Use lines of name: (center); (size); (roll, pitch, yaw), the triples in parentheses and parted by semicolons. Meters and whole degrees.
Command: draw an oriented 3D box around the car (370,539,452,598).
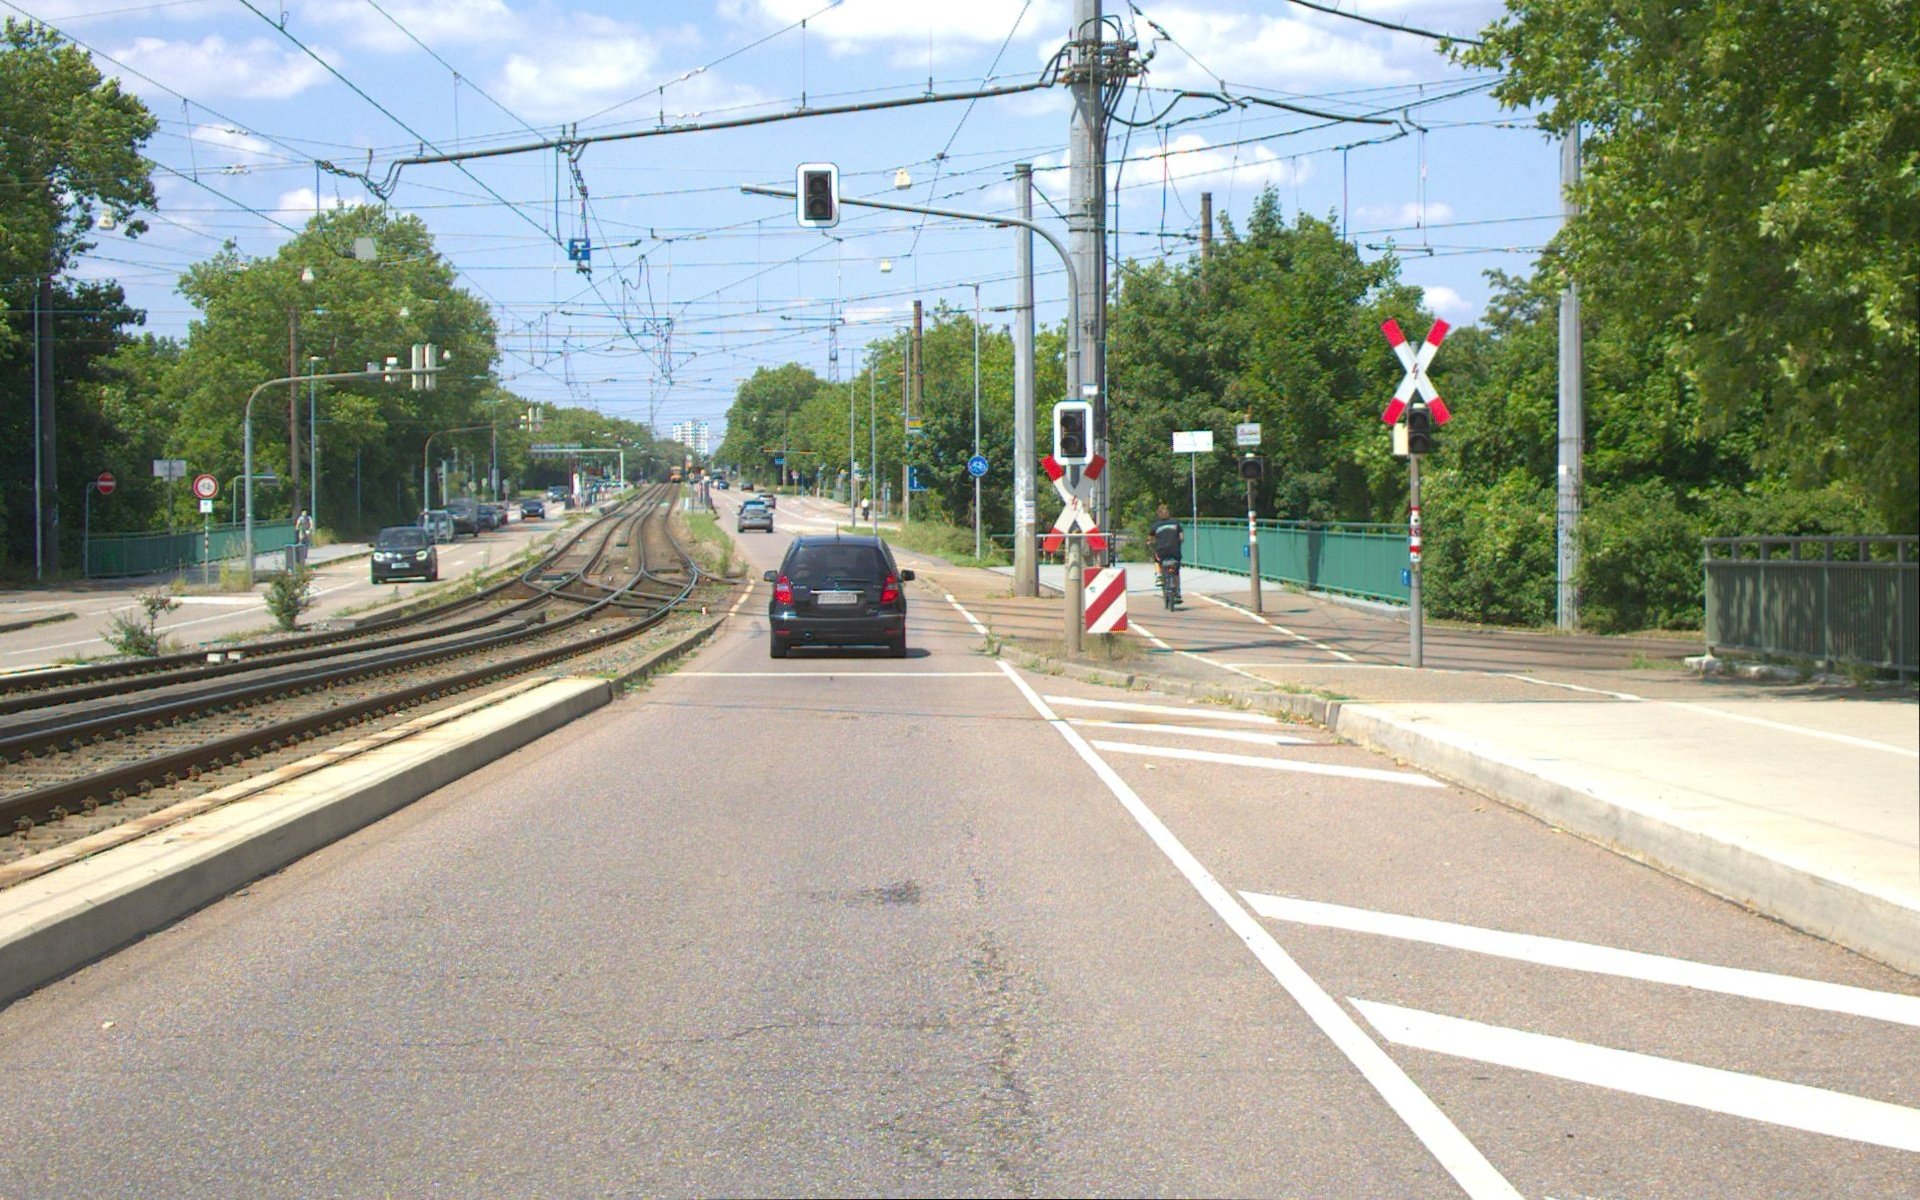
car: (-15.431, -0.892, 96.831); (1.705, 1.505, 3.734); (-1, 2, 0)

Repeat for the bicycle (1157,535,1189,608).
bicycle: (3.640, -0.500, 58.800); (0.432, 1.148, 1.855); (1, 3, 0)

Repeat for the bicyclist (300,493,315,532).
bicyclist: (-24.094, -3.231, 126.949); (0.456, 1.469, 0.633); (0, 1, -2)

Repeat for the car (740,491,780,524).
car: (-10.926, -5.064, 188.215); (1.885, 1.634, 4.001); (3, 3, -1)

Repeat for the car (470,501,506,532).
car: (-30.749, -5.434, 223.985); (1.993, 2.007, 4.001); (-1, 1, -3)

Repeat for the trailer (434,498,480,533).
trailer: (-27.910, -4.702, 190.666); (2.461, 1.882, 5.964); (0, 2, -9)

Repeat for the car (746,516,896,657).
car: (-1.787, -0.224, 45.348); (1.853, 1.564, 4.389); (1, 4, -1)

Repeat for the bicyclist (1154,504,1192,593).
bicyclist: (3.640, -0.886, 58.731); (0.585, 1.489, 0.558); (1, 3, 0)

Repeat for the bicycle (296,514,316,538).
bicycle: (-24.111, -2.733, 126.817); (0.469, 0.865, 1.743); (0, 2, -2)
